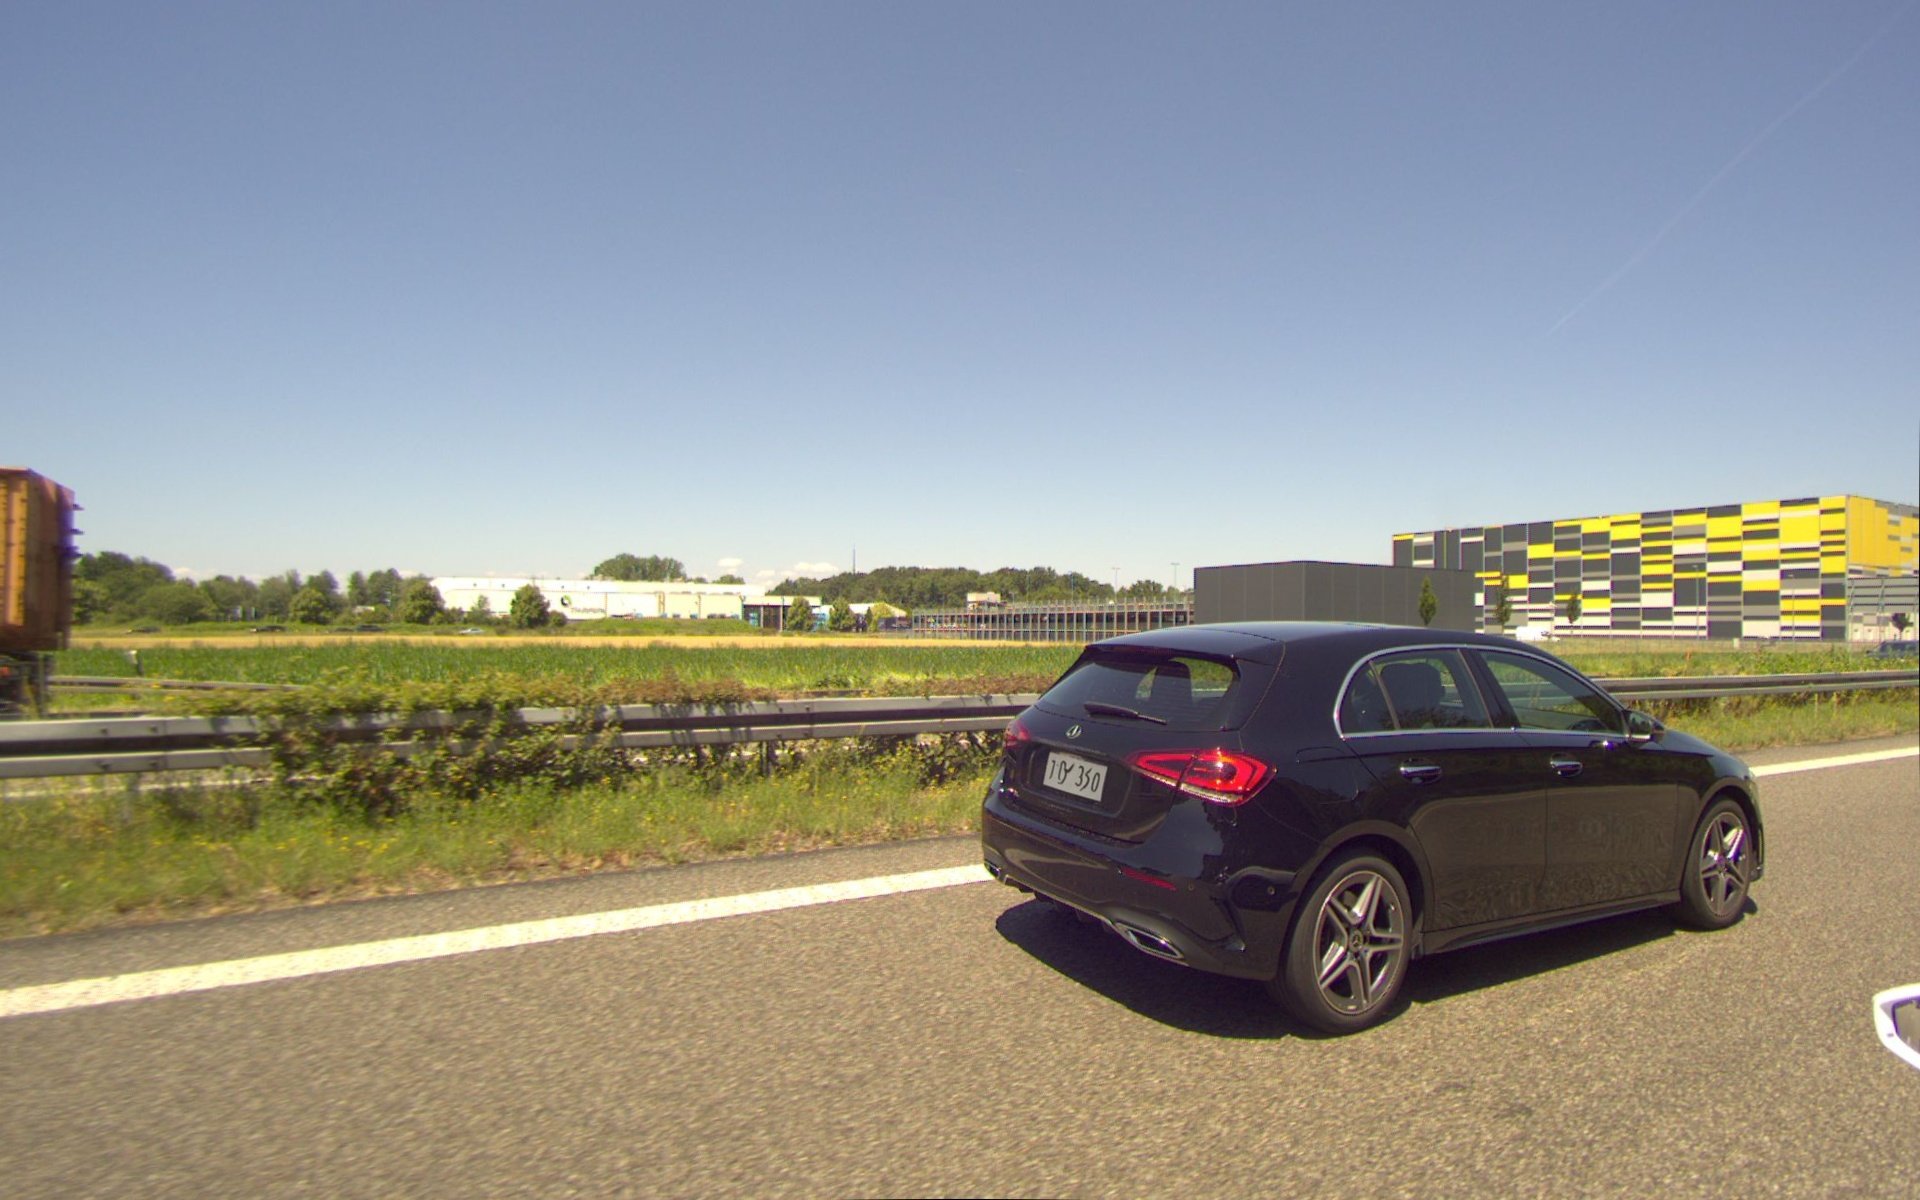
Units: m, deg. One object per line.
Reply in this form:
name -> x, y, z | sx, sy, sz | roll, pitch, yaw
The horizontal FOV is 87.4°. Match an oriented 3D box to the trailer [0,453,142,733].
trailer -> -17.026, -0.104, 13.759 | 8.560, 3.970, 2.647 | 2, -4, -30

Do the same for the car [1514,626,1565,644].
car -> 74.554, 4.518, 129.328 | 5.507, 2.206, 2.106 | -1, -2, 28

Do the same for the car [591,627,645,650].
car -> -28.264, 3.198, 82.924 | 3.951, 1.851, 1.985 | 1, -2, -29

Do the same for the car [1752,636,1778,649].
car -> 116.742, 6.143, 145.672 | 4.066, 1.750, 1.676 | 2, -2, -32

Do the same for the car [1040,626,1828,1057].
car -> 2.567, 0.888, 5.219 | 4.005, 1.430, 1.783 | 2, -1, -31

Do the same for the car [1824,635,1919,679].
car -> 38.412, 2.357, 41.812 | 5.486, 1.702, 1.985 | 2, -3, -30
